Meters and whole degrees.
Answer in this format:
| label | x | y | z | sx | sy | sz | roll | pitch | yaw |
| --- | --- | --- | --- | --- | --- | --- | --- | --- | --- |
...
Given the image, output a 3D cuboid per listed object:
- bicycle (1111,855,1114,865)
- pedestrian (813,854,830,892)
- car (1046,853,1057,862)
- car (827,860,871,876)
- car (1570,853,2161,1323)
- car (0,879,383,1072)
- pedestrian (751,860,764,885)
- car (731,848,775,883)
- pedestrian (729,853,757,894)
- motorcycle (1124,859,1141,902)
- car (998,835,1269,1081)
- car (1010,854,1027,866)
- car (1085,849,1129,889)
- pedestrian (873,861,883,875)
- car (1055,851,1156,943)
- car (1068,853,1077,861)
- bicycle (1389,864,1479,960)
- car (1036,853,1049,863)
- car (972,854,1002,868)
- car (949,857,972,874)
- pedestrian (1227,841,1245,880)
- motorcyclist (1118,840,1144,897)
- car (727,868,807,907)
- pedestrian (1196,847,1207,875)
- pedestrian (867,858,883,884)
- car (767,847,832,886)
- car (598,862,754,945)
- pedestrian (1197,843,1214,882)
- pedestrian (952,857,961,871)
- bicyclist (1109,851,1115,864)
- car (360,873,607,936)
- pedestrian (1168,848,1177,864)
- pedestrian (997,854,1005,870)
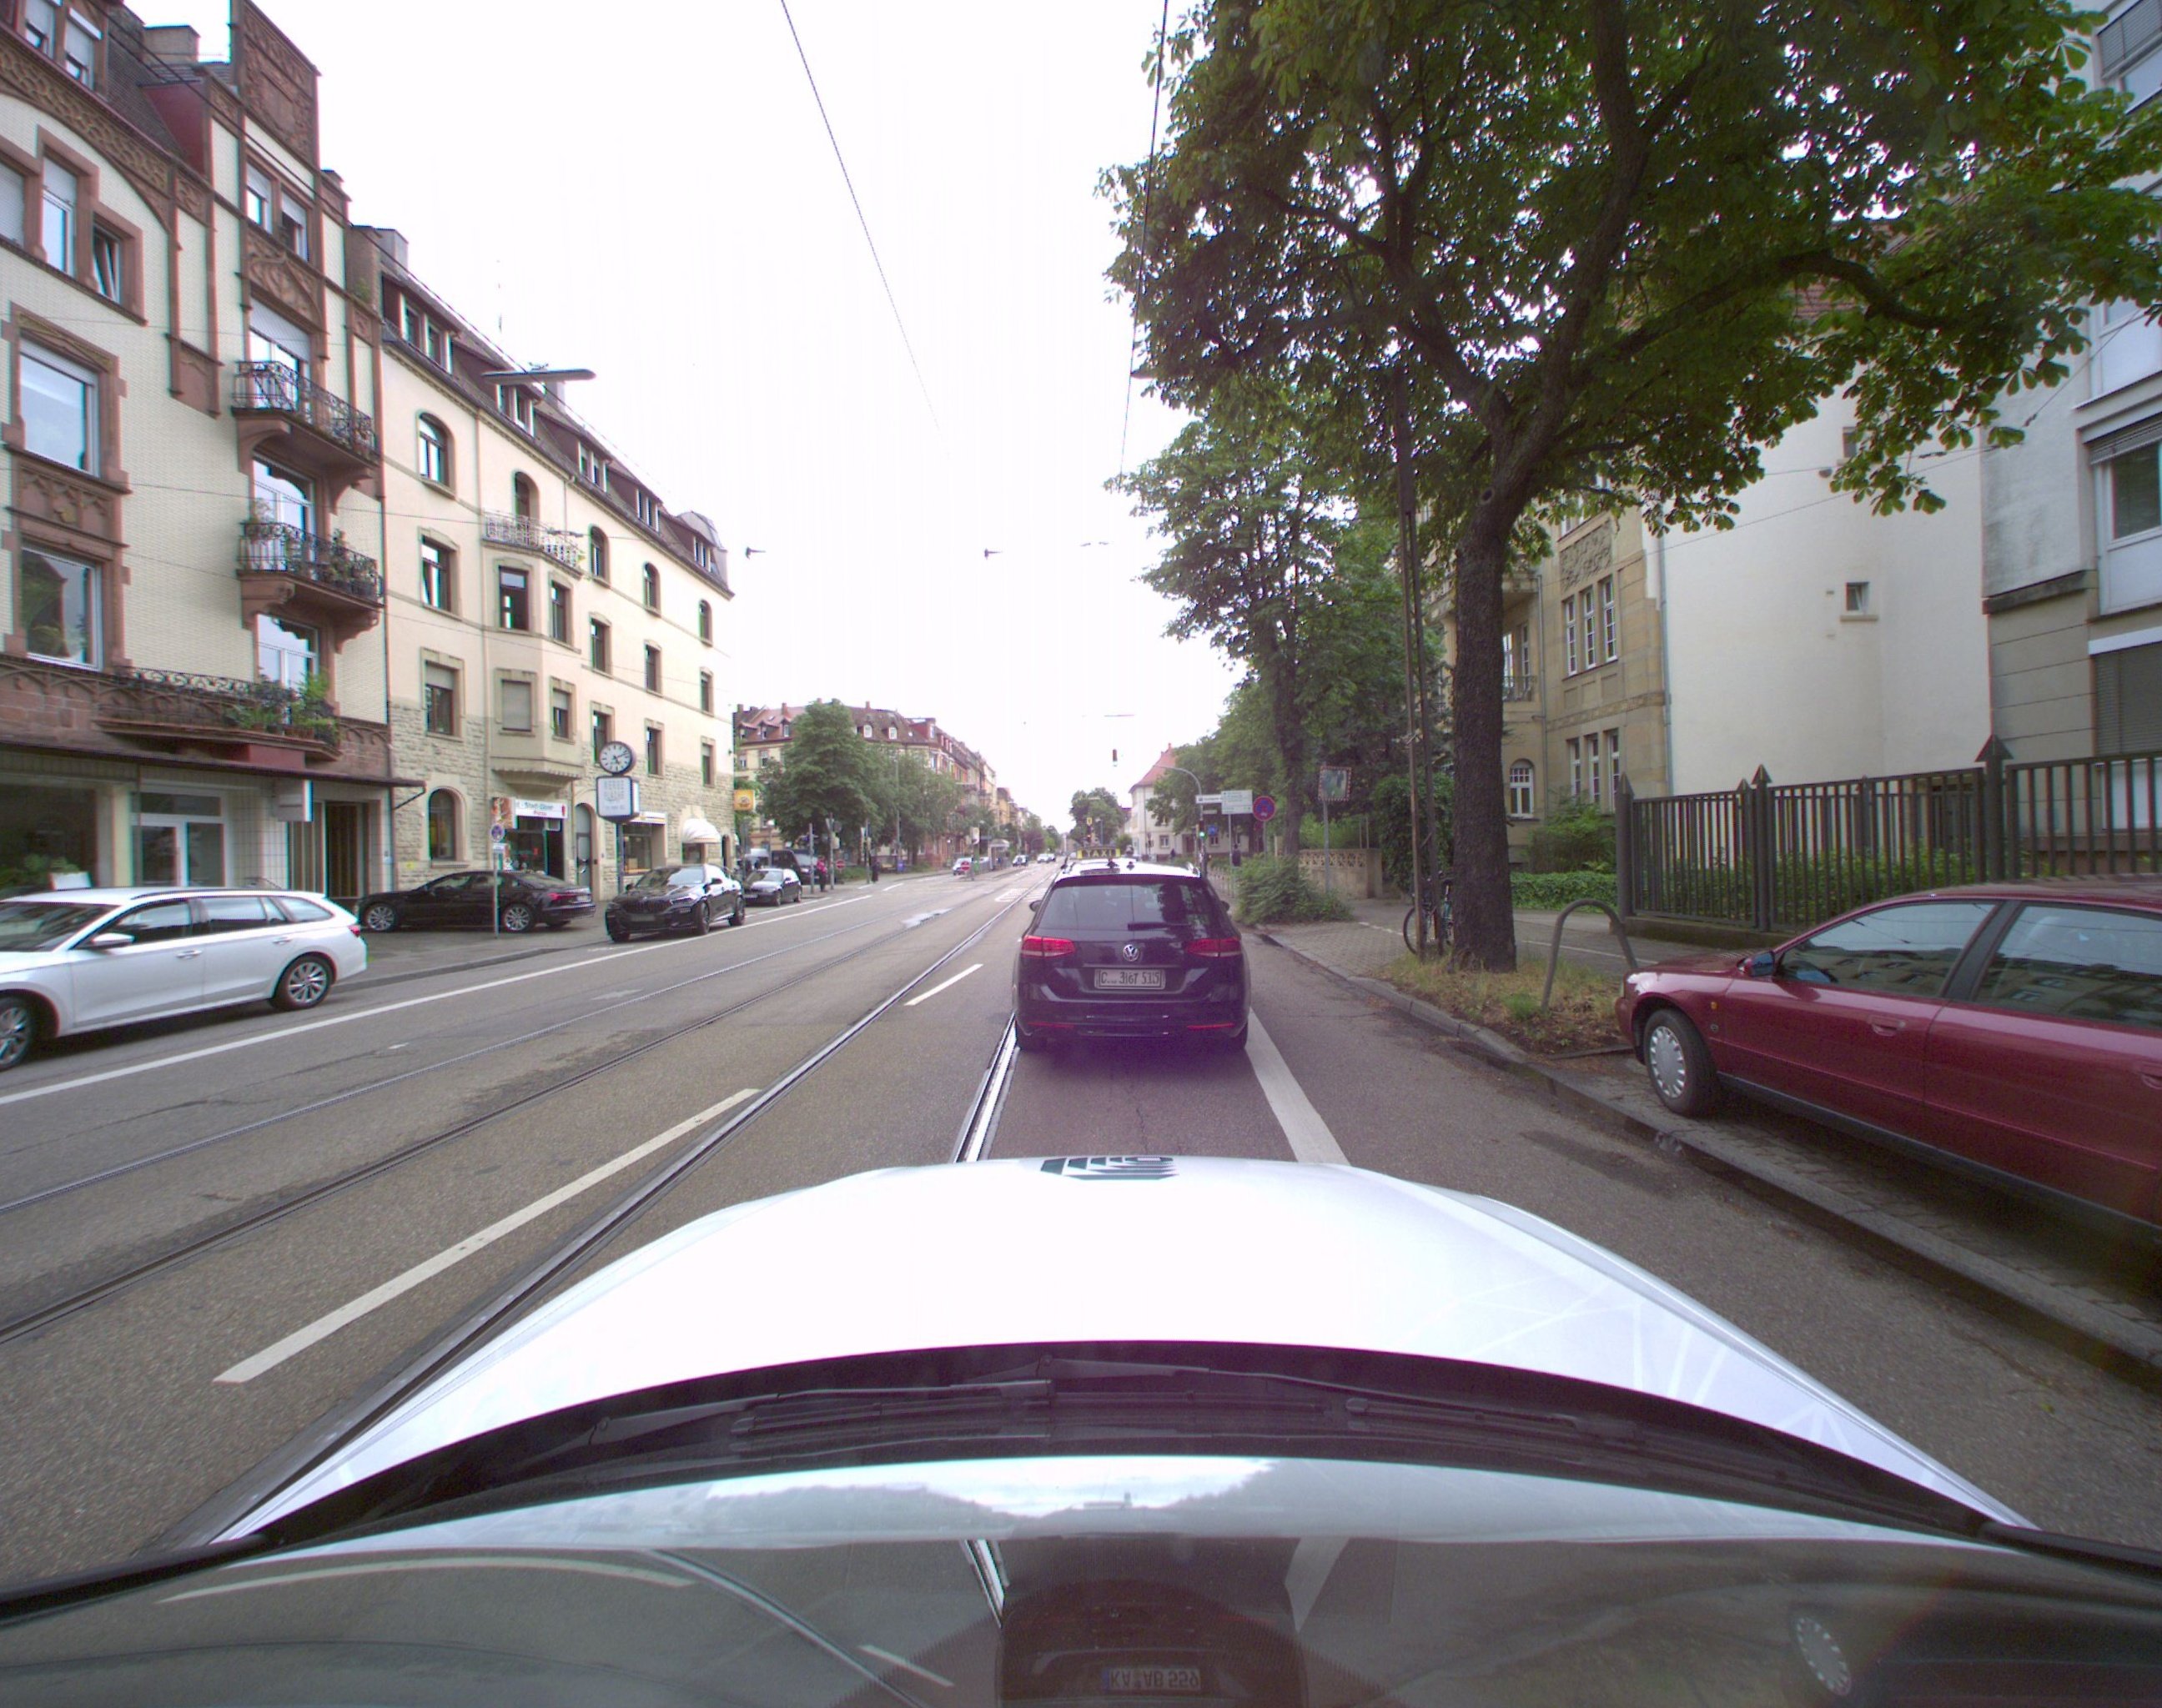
| label | x | y | z | sx | sy | sz | roll | pitch | yaw |
| --- | --- | --- | --- | --- | --- | --- | --- | --- | --- |
| bicycle | 4.043 | 0.746 | 104.433 | 0.295 | 1.223 | 1.433 | -2 | 0 | 7 |
| pedestrian | -13.037 | 0.953 | 40.932 | 0.621 | 1.842 | 0.609 | -2 | 0 | -3 |
| car | -5.699 | 0.630 | 159.703 | 1.788 | 1.596 | 4.003 | -2 | 0 | 3 |
| car | -24.945 | 1.514 | 87.521 | 4.021 | 1.596 | 1.976 | -2 | 0 | -40 |
| car | 4.202 | 0.746 | 3.508 | 1.597 | 1.399 | 4.227 | -4 | 0 | 0 |
| car | -9.920 | 1.100 | 8.233 | 1.742 | 1.484 | 4.607 | -2 | 0 | -1 |
| pedestrian | -23.141 | 1.330 | 58.308 | 0.703 | 1.715 | 0.545 | -2 | 0 | -40 |
| car | -25.318 | 0.862 | 62.700 | 2.194 | 2.527 | 5.326 | -2 | 0 | -32 |
| pedestrian | -16.976 | 0.986 | 40.919 | 0.971 | 2.013 | 0.835 | -2 | 0 | -1 |
| motorcycle | 1.580 | 0.795 | 24.880 | 0.444 | 1.235 | 1.909 | -2 | 0 | 5 |
| car | 0.348 | 0.667 | 7.273 | 1.718 | 1.546 | 3.999 | -1 | 0 | 0 |
| car | -8.377 | 0.830 | 109.556 | 1.714 | 1.464 | 3.866 | -2 | 0 | 2 |
| car | 1.038 | 0.589 | 34.520 | 1.718 | 1.546 | 3.999 | -1 | 0 | 0 |
| pedestrian | -17.552 | 1.208 | 70.285 | 0.591 | 1.168 | 0.837 | -2 | 0 | -29 |
| car | 0.429 | 0.729 | 16.017 | 1.718 | 1.546 | 3.999 | -1 | 0 | 0 |
| car | -2.187 | 0.879 | 209.764 | 2.026 | 2.014 | 3.999 | -1 | -1 | 0 |
| bicycle | 4.843 | 0.743 | 11.098 | 0.428 | 1.198 | 1.915 | -2 | -2 | 45 |
| car | -6.731 | 0.707 | 143.445 | 1.788 | 1.596 | 4.003 | -2 | 0 | 3 |
| car | -11.538 | 0.867 | 100.494 | 1.704 | 1.622 | 3.887 | -2 | 0 | 29 |
| car | -10.481 | 0.978 | 70.889 | 1.686 | 1.410 | 3.993 | -2 | 0 | -5 |
| pedestrian | 7.359 | 0.315 | 38.643 | 0.630 | 1.815 | 0.725 | -2 | 0 | -3 |
| motorcyclist | 1.535 | 0.426 | 24.965 | 0.699 | 1.692 | 0.805 | -2 | 0 | 5 |
| car | -12.270 | 1.267 | 32.076 | 1.644 | 1.361 | 4.126 | 1 | 0 | -2 |
| pedestrian | 8.072 | 0.476 | 54.428 | 0.512 | 1.831 | 0.418 | -5 | 0 | 1 |
| pedestrian | -13.667 | 1.110 | 54.012 | 0.833 | 1.663 | 0.591 | -2 | 0 | 1 |
| car | -19.049 | 0.859 | 54.928 | 2.198 | 2.417 | 5.315 | -2 | 0 | -42 |
| car | -9.637 | 1.088 | 19.869 | 1.882 | 1.611 | 4.872 | -4 | 0 | -9 |
| pedestrian | 5.997 | 0.395 | 39.148 | 0.583 | 1.831 | 0.604 | -5 | 0 | 1 |
| pedestrian | -14.008 | 1.122 | 91.715 | 0.582 | 1.520 | 0.653 | -2 | 0 | 35 |
| bicyclist | 4.036 | 0.472 | 104.446 | 0.648 | 1.568 | 0.697 | -2 | 0 | 7 |
| car | -14.252 | 1.181 | 19.655 | 4.418 | 1.370 | 1.877 | 1 | 0 | -5 |
| pedestrian | 9.341 | 0.187 | 83.275 | 0.612 | 1.553 | 0.576 | -1 | 0 | -39 |
| pedestrian | -7.635 | 0.731 | 77.843 | 0.711 | 1.520 | 0.590 | -2 | 0 | 1 |
